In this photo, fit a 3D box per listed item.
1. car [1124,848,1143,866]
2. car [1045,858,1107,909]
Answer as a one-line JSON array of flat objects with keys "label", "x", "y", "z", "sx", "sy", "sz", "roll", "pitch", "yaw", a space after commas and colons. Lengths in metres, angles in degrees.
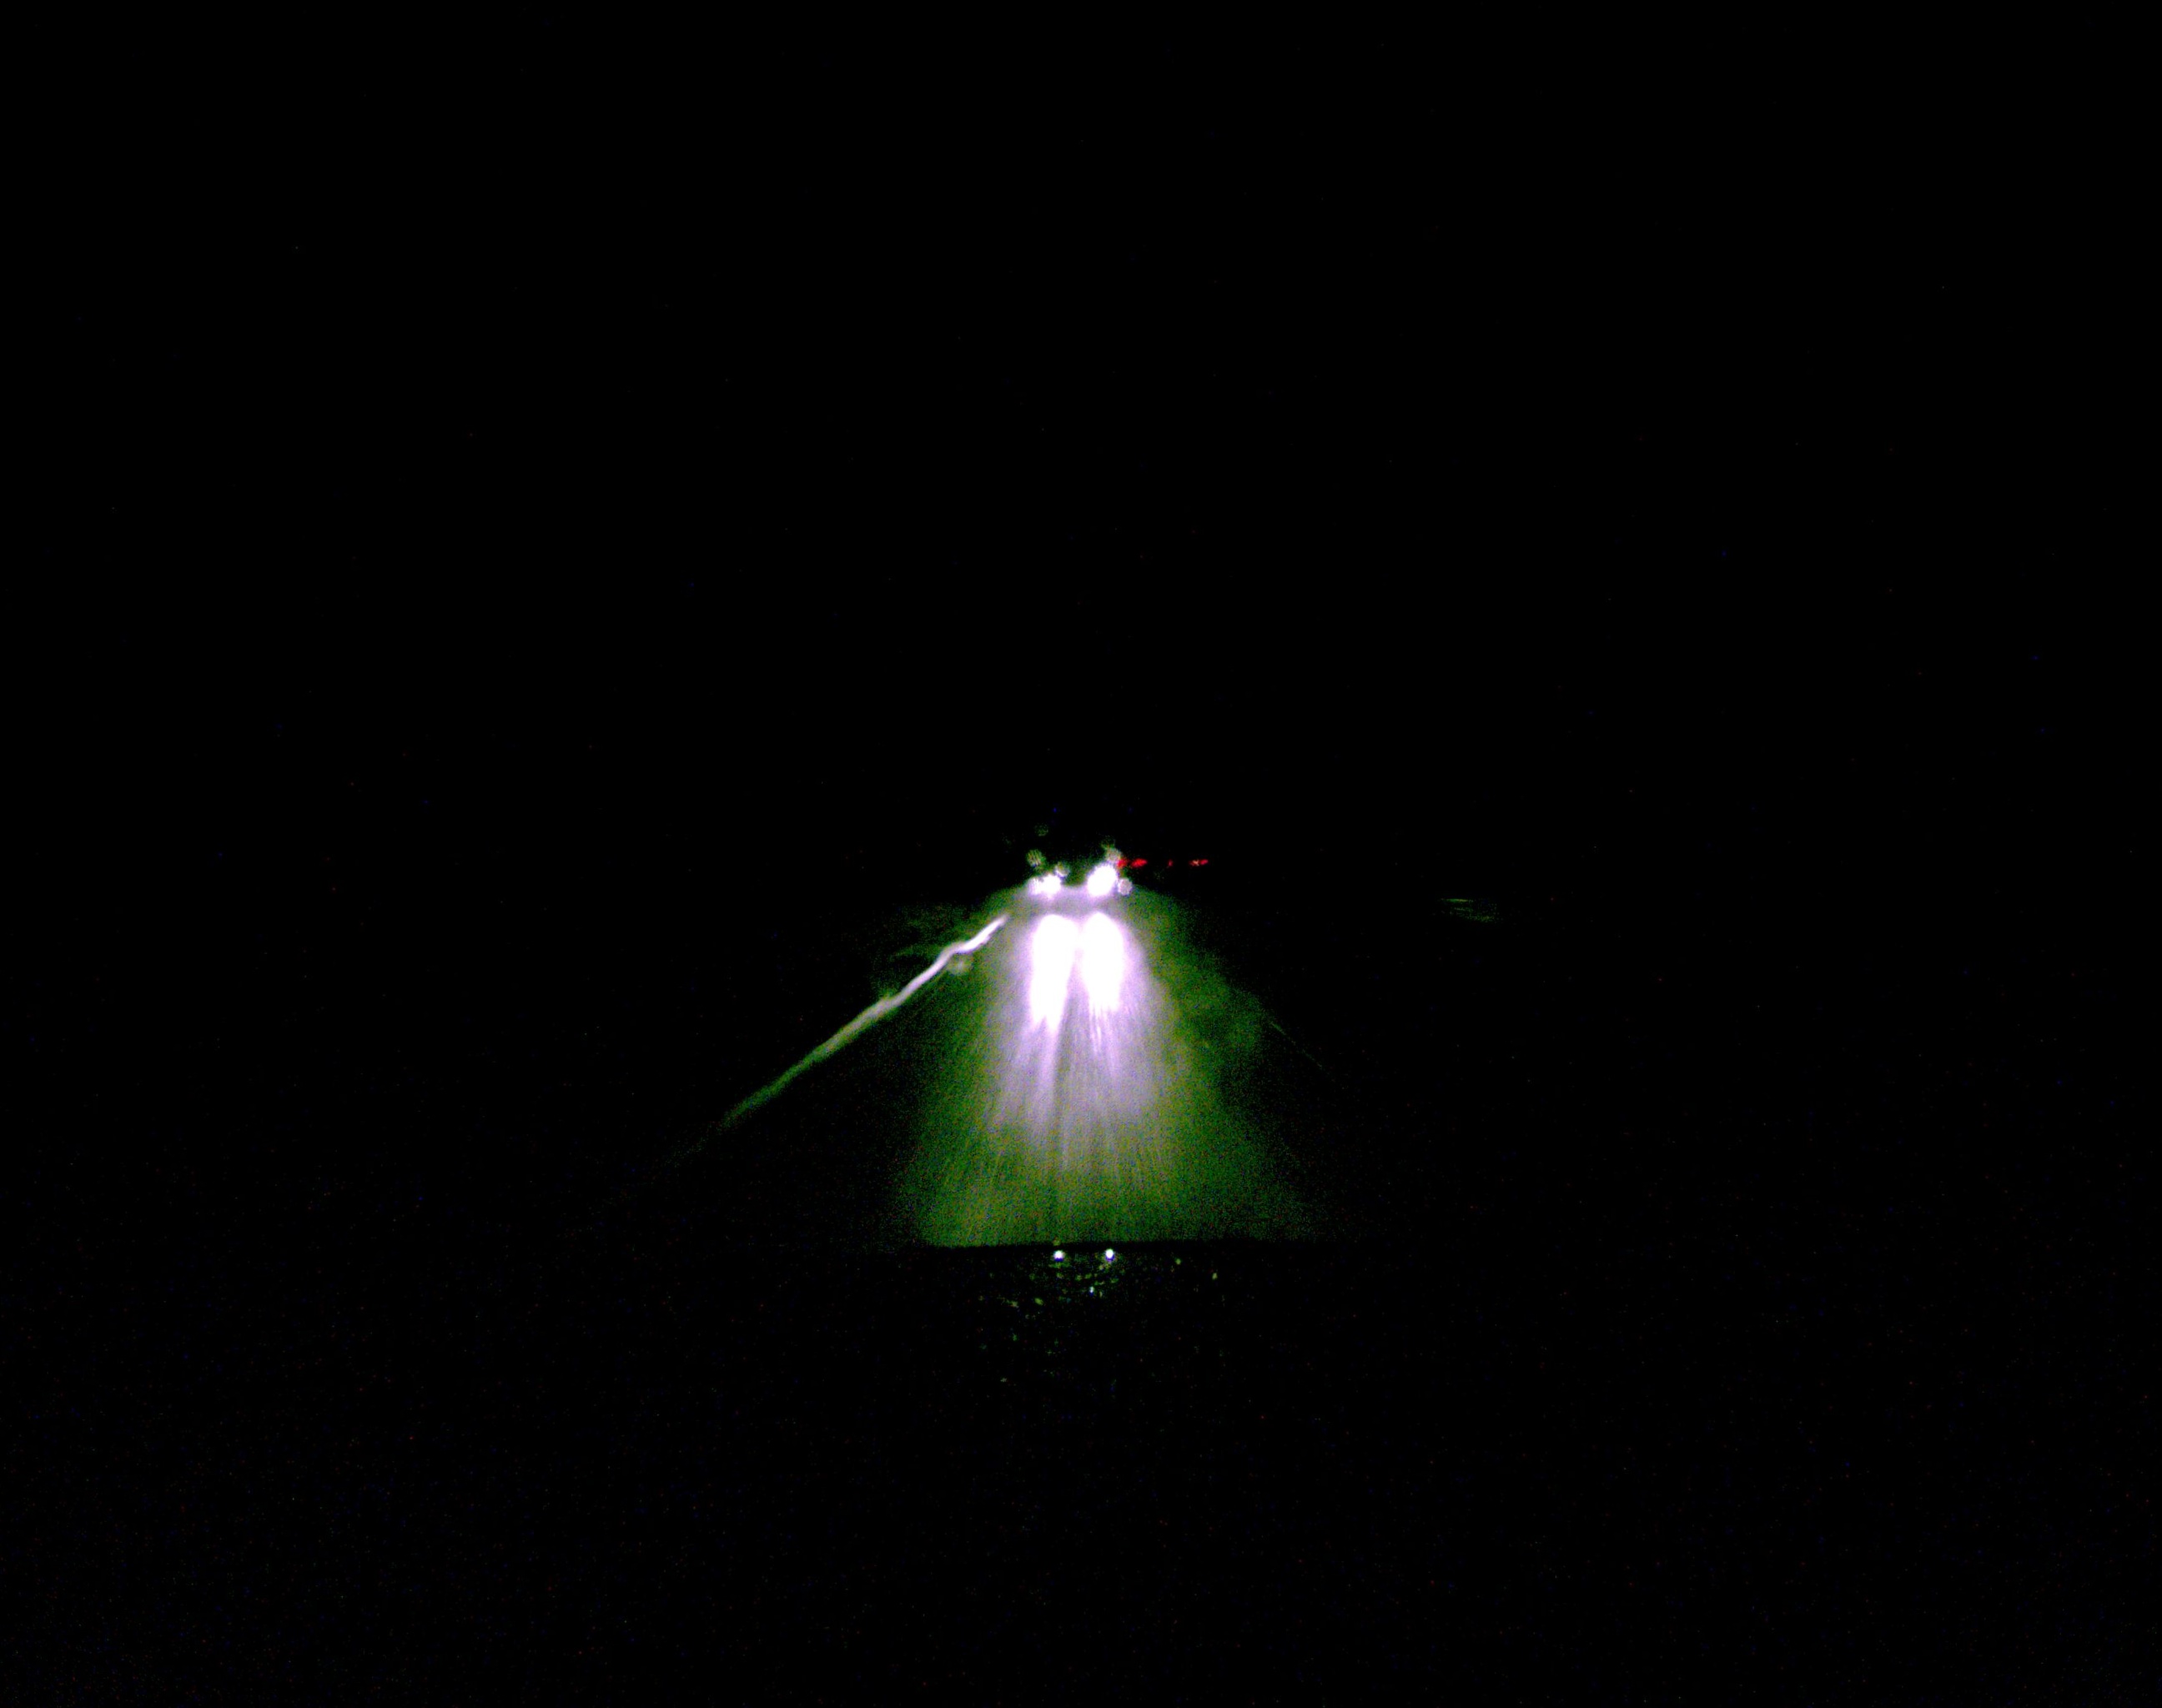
[{"label": "car", "x": 5.655, "y": 0.386, "z": 82.454, "sx": 1.840, "sy": 1.833, "sz": 4.001, "roll": 0, "pitch": -1, "yaw": 1}, {"label": "car", "x": -0.089, "y": 0.908, "z": 25.191, "sx": 1.744, "sy": 1.501, "sz": 3.601, "roll": -2, "pitch": 0, "yaw": 3}]
